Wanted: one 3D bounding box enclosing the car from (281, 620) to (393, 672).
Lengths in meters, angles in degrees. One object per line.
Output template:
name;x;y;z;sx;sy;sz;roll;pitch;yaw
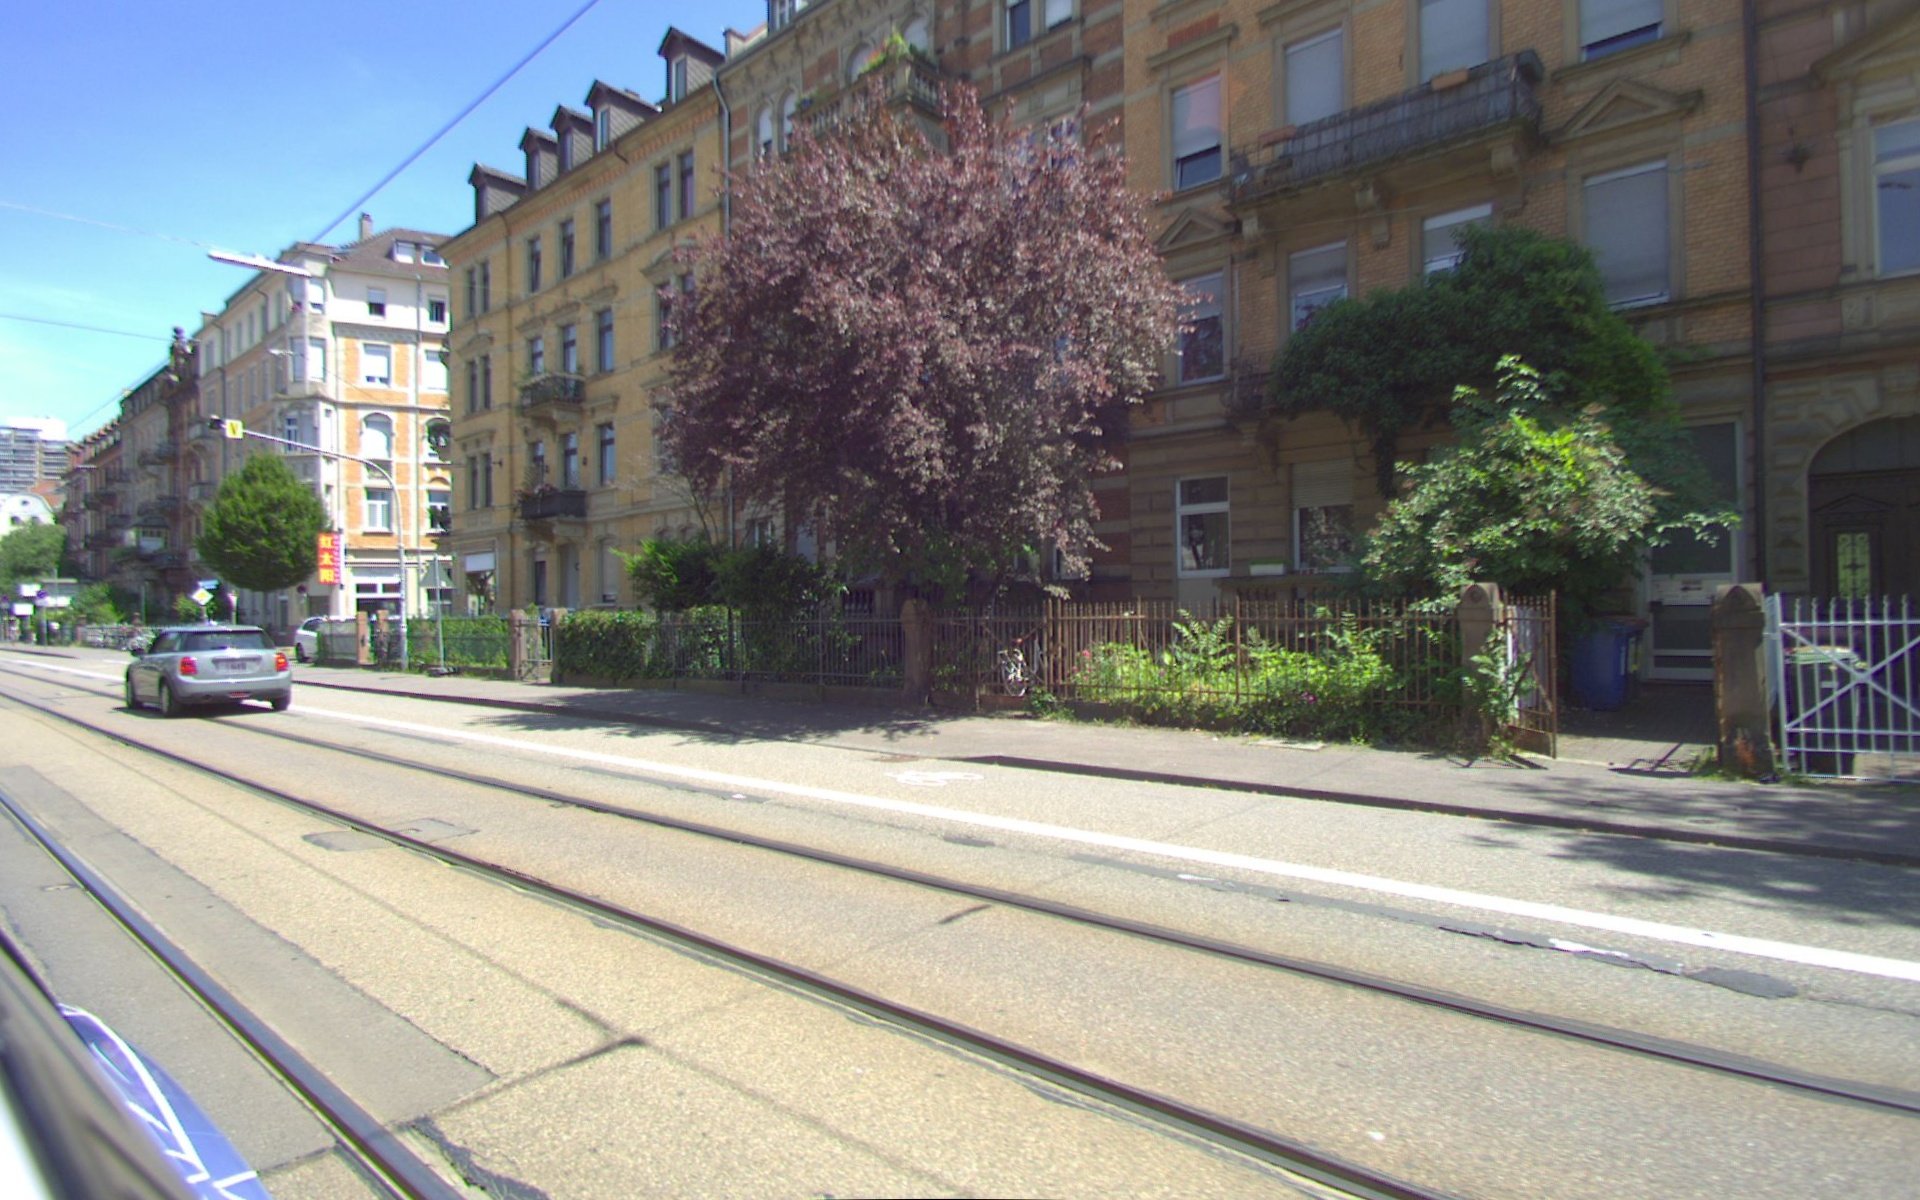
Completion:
car;-21.545;1.572;34.950;4.094;1.612;1.849;-2;0;36

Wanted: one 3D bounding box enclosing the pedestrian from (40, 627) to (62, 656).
pedestrian;-57.518;2.633;64.020;1.138;1.736;0.842;-2;1;42

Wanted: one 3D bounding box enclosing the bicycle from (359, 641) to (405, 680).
bicycle;-15.827;1.644;27.695;1.804;1.011;0.449;-2;-1;38

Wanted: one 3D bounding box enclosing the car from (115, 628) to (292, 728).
car;-12.891;1.233;17.174;3.746;1.465;1.669;-2;-1;41

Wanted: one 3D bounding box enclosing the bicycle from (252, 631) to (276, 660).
bicycle;-32.207;2.092;46.820;0.493;1.237;1.856;0;1;-21

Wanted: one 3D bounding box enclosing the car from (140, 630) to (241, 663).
car;-38.202;2.256;50.280;1.713;1.439;3.720;-1;0;41

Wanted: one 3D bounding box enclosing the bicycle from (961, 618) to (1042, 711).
bicycle;0.632;0.927;14.953;0.507;1.196;1.599;-2;2;28

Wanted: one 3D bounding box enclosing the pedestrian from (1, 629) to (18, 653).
pedestrian;-68.325;2.936;72.729;0.861;1.713;1.014;0;-1;-43

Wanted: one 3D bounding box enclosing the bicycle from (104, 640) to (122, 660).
bicycle;-43.700;2.572;52.203;1.709;0.991;0.434;-2;-1;40

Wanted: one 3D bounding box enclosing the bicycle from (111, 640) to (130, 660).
bicycle;-42.177;2.494;50.847;1.709;0.991;0.434;-2;-1;40

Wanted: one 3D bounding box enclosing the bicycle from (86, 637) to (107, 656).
bicycle;-47.503;2.564;55.671;1.709;0.994;0.492;-2;3;40

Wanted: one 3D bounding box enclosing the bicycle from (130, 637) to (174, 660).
bicycle;-40.460;2.431;50.692;1.685;1.045;0.551;-1;-1;-45
